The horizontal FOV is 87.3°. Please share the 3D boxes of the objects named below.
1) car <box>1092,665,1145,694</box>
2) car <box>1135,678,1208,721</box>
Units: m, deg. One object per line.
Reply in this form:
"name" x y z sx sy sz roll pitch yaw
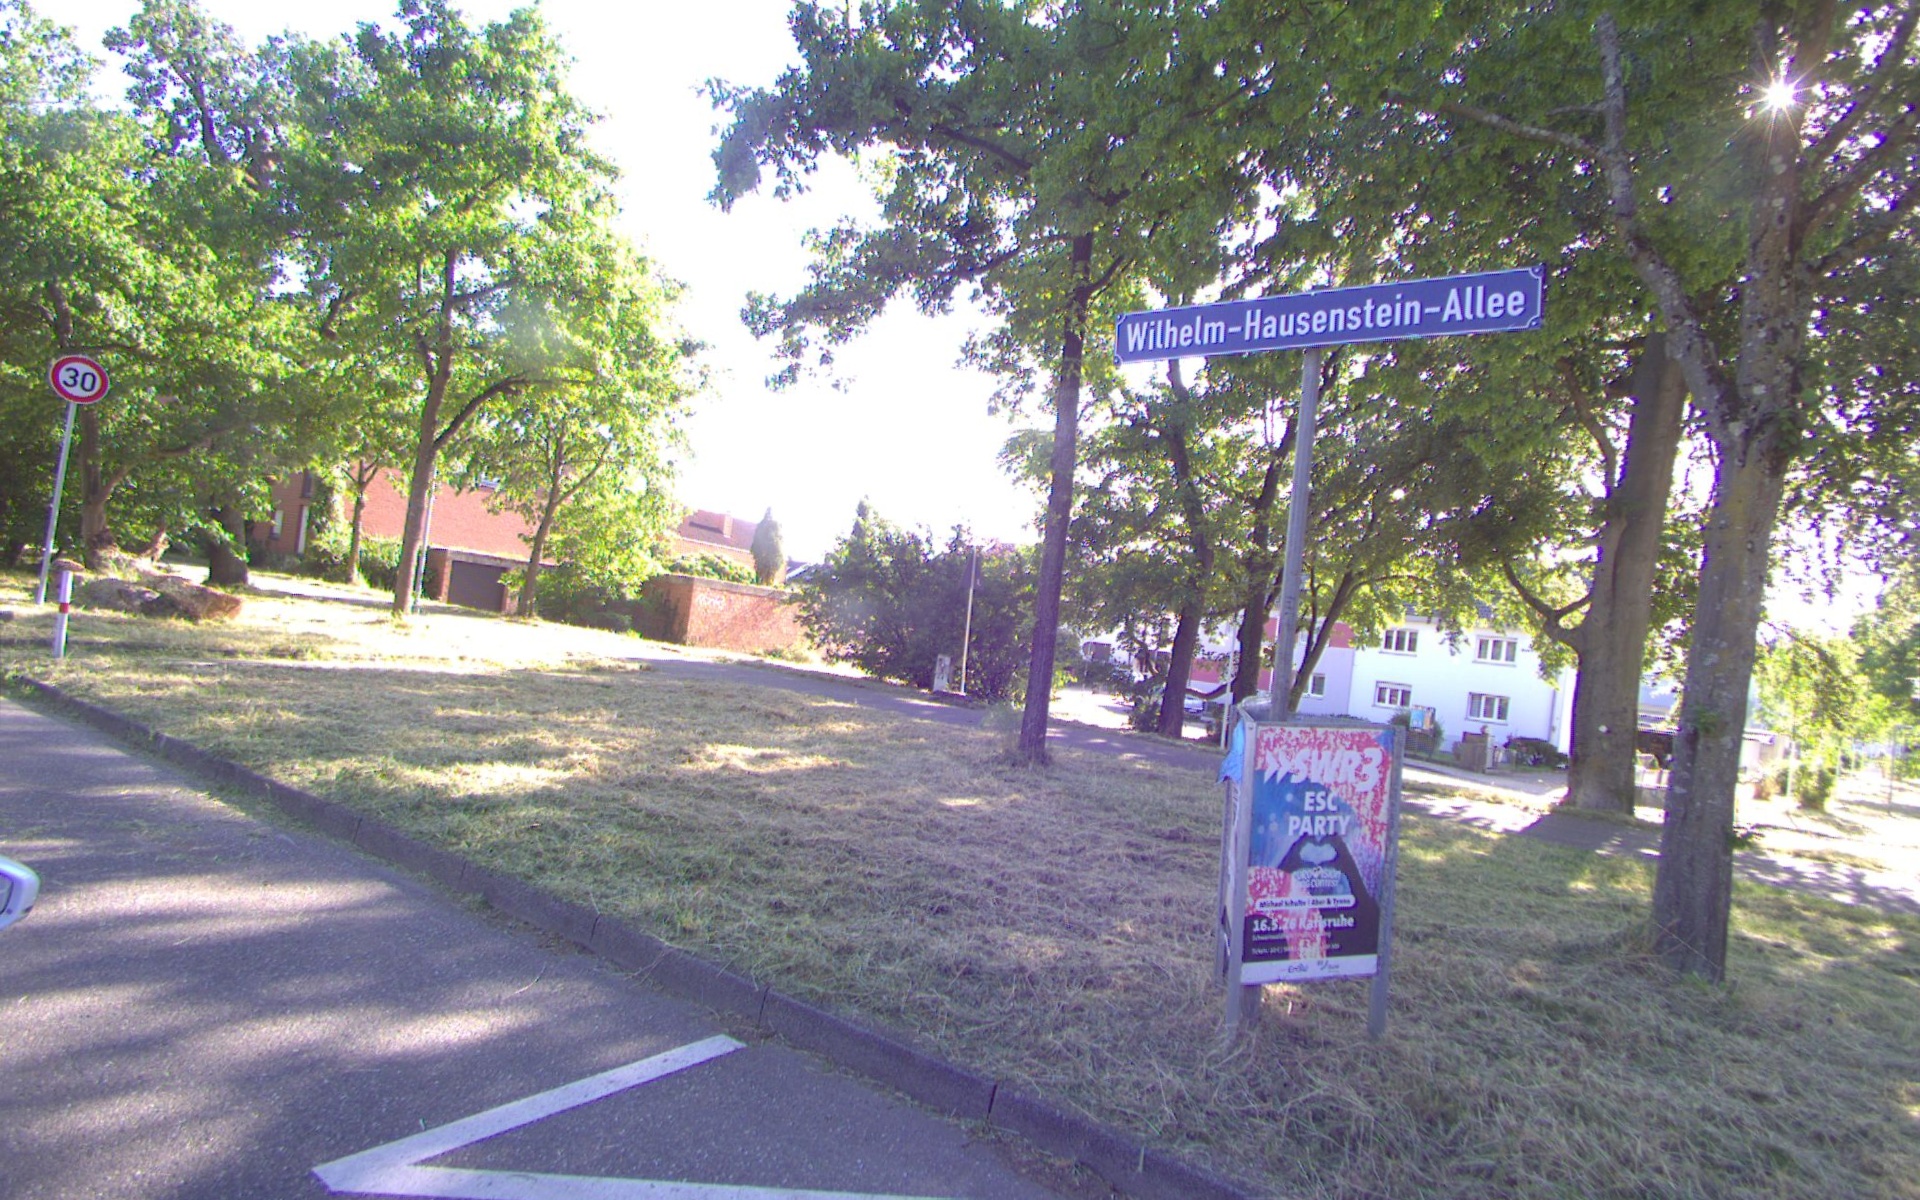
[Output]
"car" 10.792 5.442 68.391 3.617 1.515 1.434 10 -3 -41
"car" 10.057 4.740 48.000 1.514 1.569 3.160 9 -2 -30
